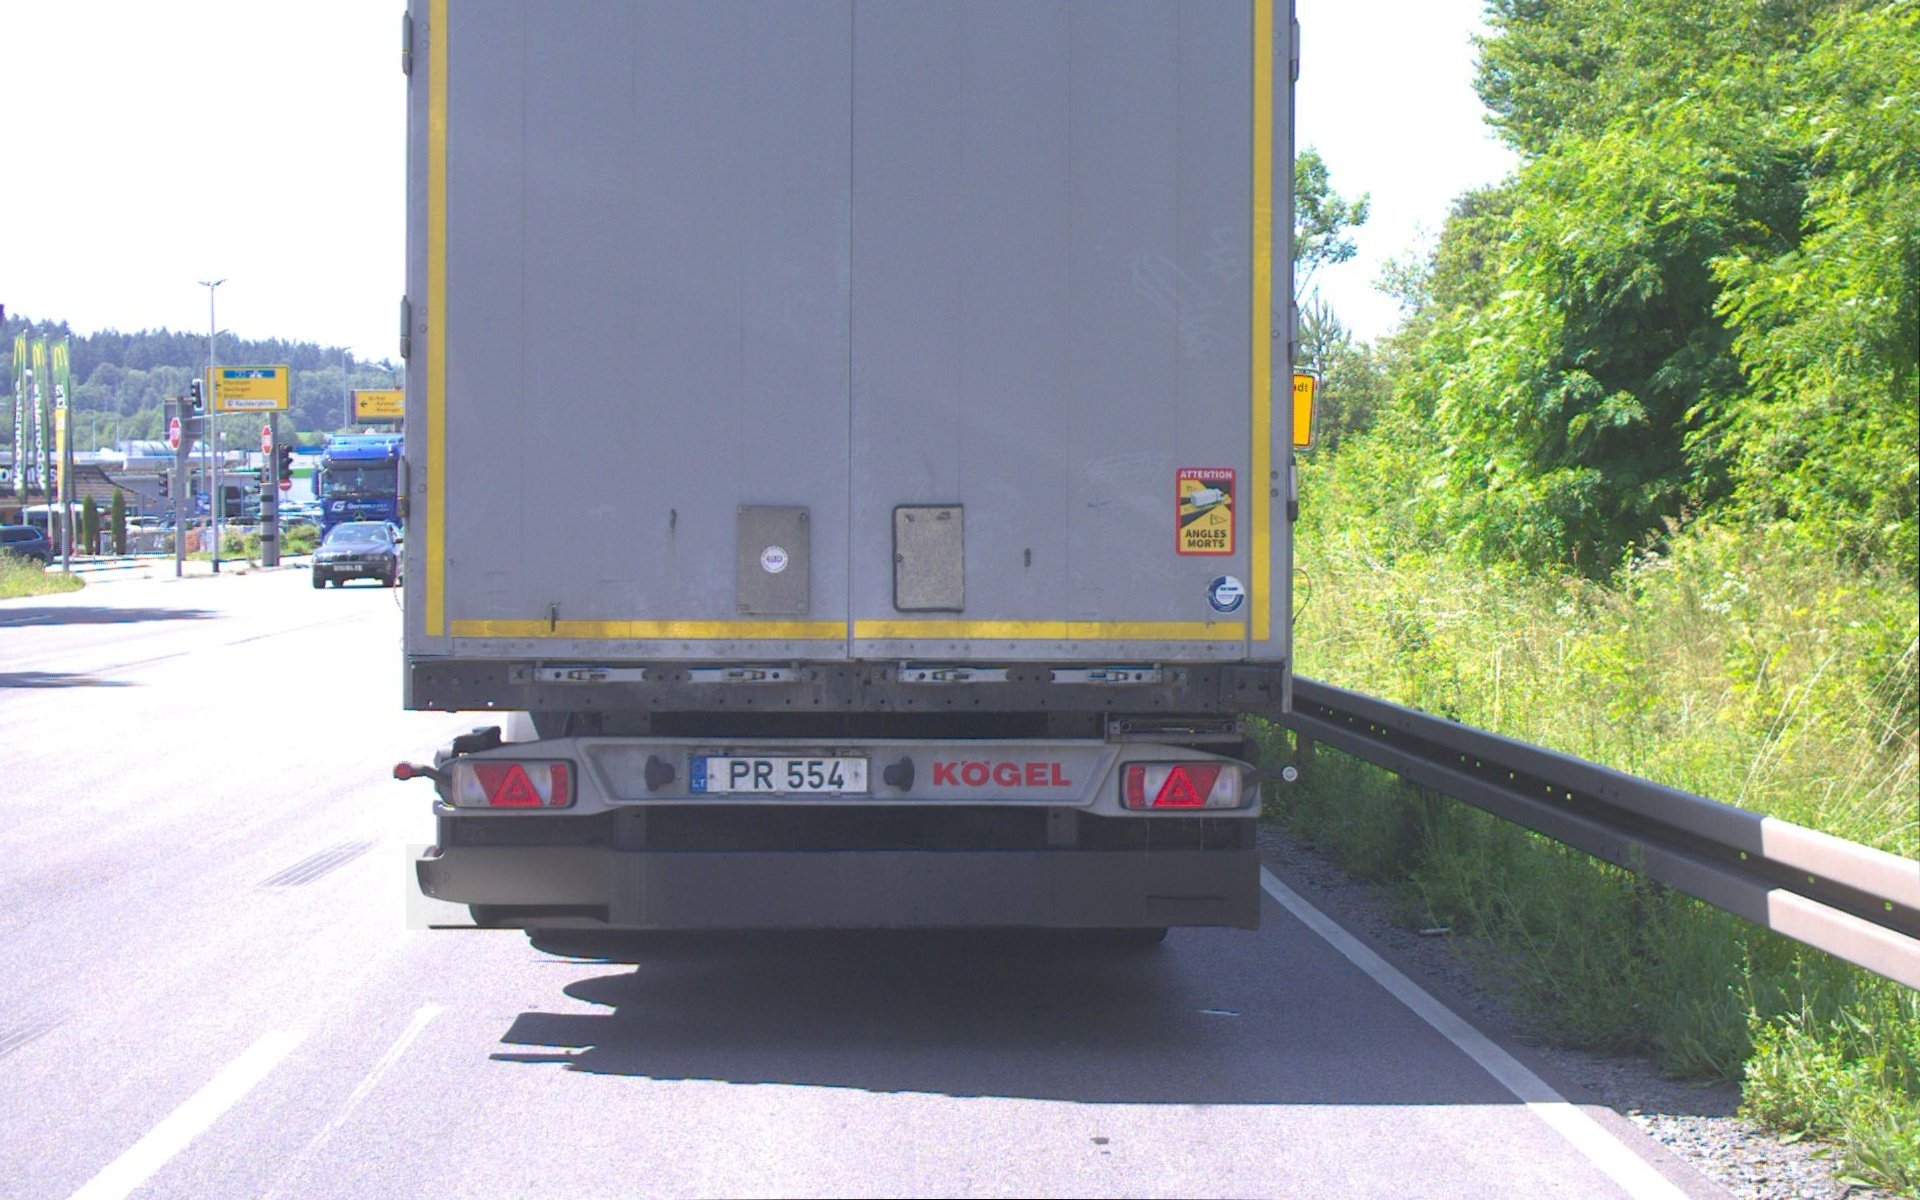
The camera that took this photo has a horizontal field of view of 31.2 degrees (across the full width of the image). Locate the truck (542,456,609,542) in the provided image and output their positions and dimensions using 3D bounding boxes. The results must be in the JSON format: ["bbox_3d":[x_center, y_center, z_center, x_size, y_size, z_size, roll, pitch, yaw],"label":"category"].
[{"bbox_3d":[-20.495,-5.261,182.593,3.145,4.334,17.547,0,1,-8],"label":"truck"}]

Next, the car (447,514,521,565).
[{"bbox_3d":[-14.011,-1.797,101.406,1.641,1.433,4.017,0,2,0],"label":"car"}]

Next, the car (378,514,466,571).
[{"bbox_3d":[-13.809,-1.467,88.448,1.766,1.381,4.000,1,0,-2],"label":"car"}]

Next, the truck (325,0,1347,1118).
[{"bbox_3d":[-0.421,-0.978,17.807,2.755,4.623,16.656,1,0,-1],"label":"truck"}]

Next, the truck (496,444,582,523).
[{"bbox_3d":[-18.598,-5.105,152.448,2.846,3.340,11.483,0,1,-2],"label":"truck"}]

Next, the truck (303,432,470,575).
[{"bbox_3d":[-17.945,-3.004,108.770,2.968,4.162,16.576,0,1,-2],"label":"truck"}]

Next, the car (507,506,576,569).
[{"bbox_3d":[-13.595,-2.039,111.847,1.773,2.007,4.000,0,1,-1],"label":"car"}]

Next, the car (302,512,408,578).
[{"bbox_3d":[-13.290,-1.194,75.712,1.766,1.381,4.000,1,0,-2],"label":"car"}]

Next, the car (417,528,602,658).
[{"bbox_3d":[-5.093,-0.105,39.314,1.686,1.393,4.403,0,1,-2],"label":"car"}]

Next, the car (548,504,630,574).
[{"bbox_3d":[-10.782,-1.784,100.122,1.993,2.007,4.000,0,1,-1],"label":"car"}]
